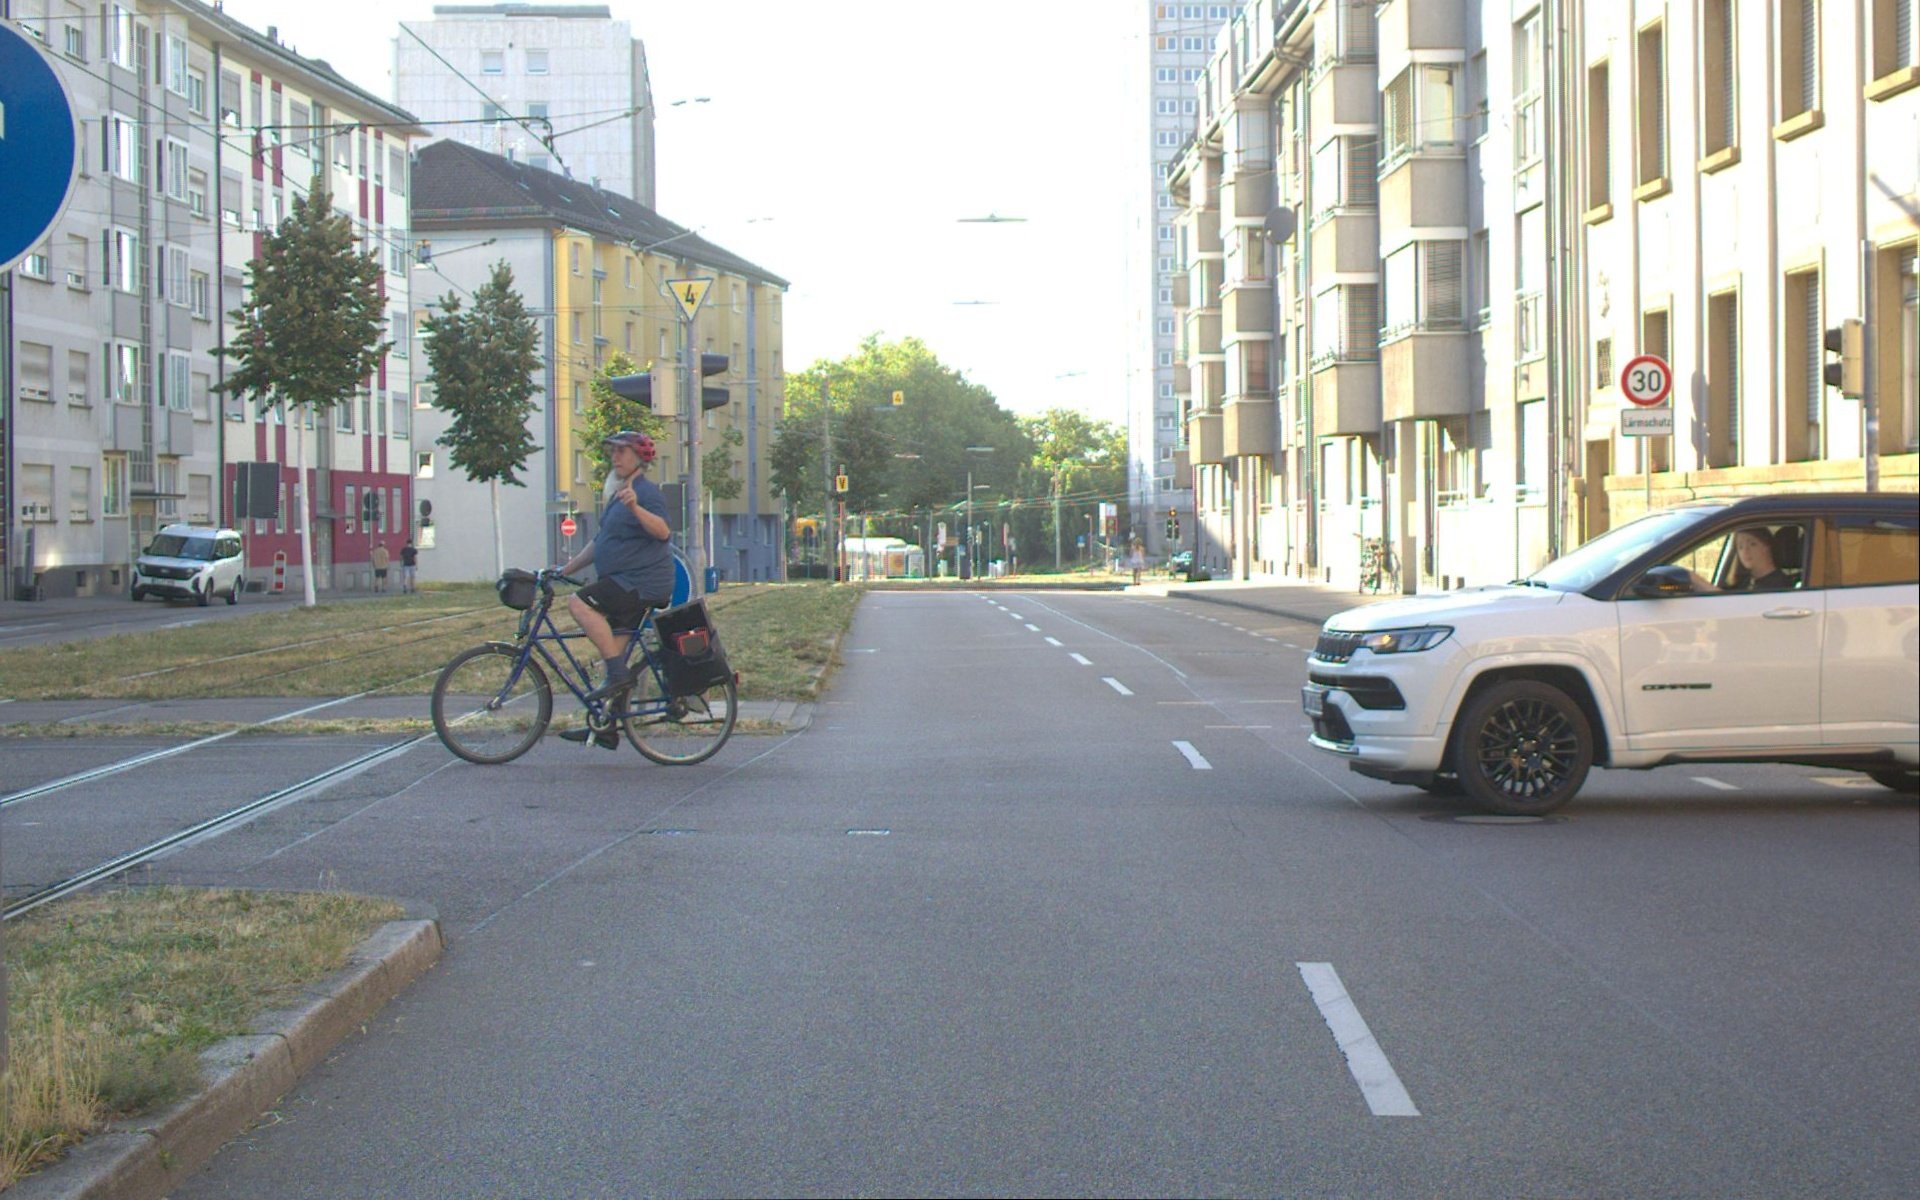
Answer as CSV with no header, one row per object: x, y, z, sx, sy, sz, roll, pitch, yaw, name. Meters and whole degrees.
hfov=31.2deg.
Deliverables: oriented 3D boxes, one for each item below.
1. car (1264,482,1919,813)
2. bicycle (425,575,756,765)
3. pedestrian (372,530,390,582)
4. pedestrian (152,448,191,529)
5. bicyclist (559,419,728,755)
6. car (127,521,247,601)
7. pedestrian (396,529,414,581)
3.979,0.216,18.233,4.417,1.635,2.000,0,1,-5,car
-2.218,0.414,20.791,1.943,1.090,0.575,-1,1,-3,bicycle
-18.528,-1.396,110.041,0.495,1.652,0.408,-1,1,0,pedestrian
-19.919,-2.812,86.846,0.786,2.007,0.891,-1,1,-4,pedestrian
-1.905,-0.084,20.800,0.959,1.981,0.672,-1,1,-3,bicyclist
-18.234,-0.914,81.275,1.812,1.791,4.245,1,0,1,car
-17.817,-1.441,110.386,0.495,1.652,0.408,-1,1,0,pedestrian
